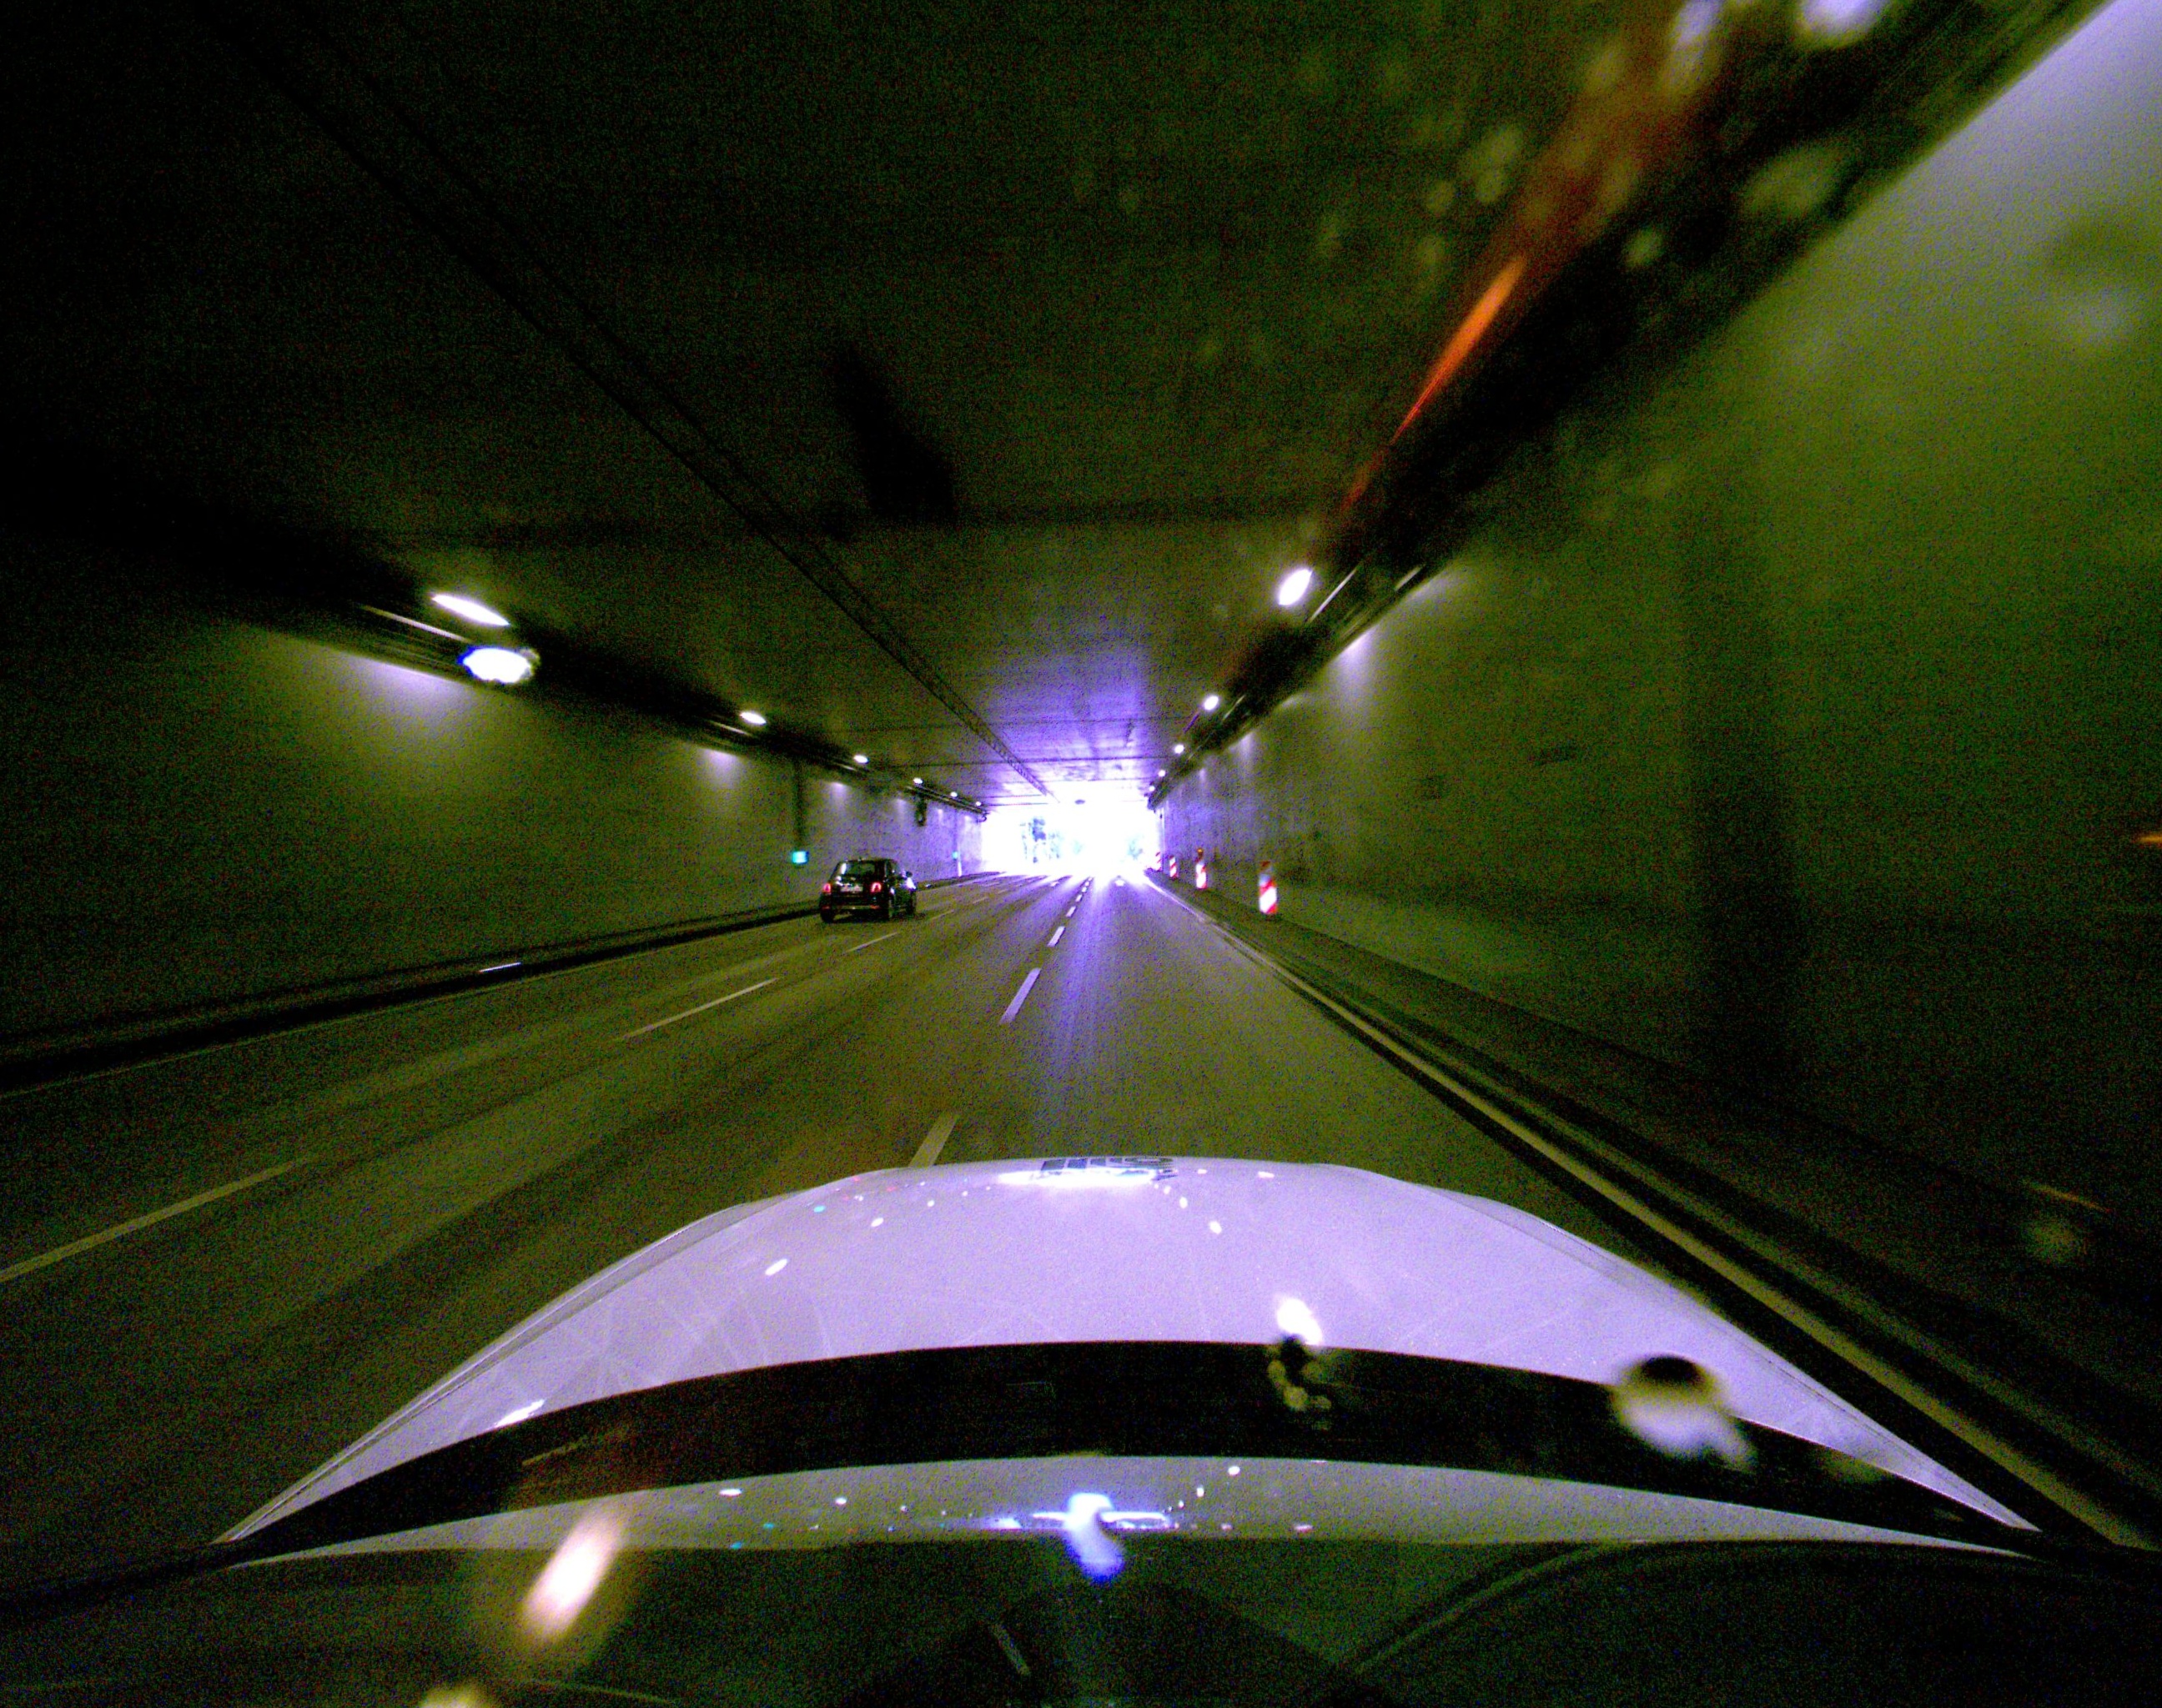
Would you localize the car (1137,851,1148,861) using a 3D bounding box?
[{"bbox_3d":[12.368,0.468,164.624,1.986,2.014,4.002,-2,-1,2],"label":"car"}]

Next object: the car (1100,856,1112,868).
[{"bbox_3d":[4.479,1.457,145.468,1.986,2.014,4.000,-2,-1,1],"label":"car"}]

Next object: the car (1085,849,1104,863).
[{"bbox_3d":[1.520,0.268,94.472,1.987,1.448,4.313,-2,-1,-1],"label":"car"}]

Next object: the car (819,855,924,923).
[{"bbox_3d":[-5.094,0.788,20.233,1.607,1.454,3.573,-2,0,0],"label":"car"}]

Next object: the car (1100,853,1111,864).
[{"bbox_3d":[4.637,0.847,155.144,1.986,2.014,4.000,-2,-1,1],"label":"car"}]
